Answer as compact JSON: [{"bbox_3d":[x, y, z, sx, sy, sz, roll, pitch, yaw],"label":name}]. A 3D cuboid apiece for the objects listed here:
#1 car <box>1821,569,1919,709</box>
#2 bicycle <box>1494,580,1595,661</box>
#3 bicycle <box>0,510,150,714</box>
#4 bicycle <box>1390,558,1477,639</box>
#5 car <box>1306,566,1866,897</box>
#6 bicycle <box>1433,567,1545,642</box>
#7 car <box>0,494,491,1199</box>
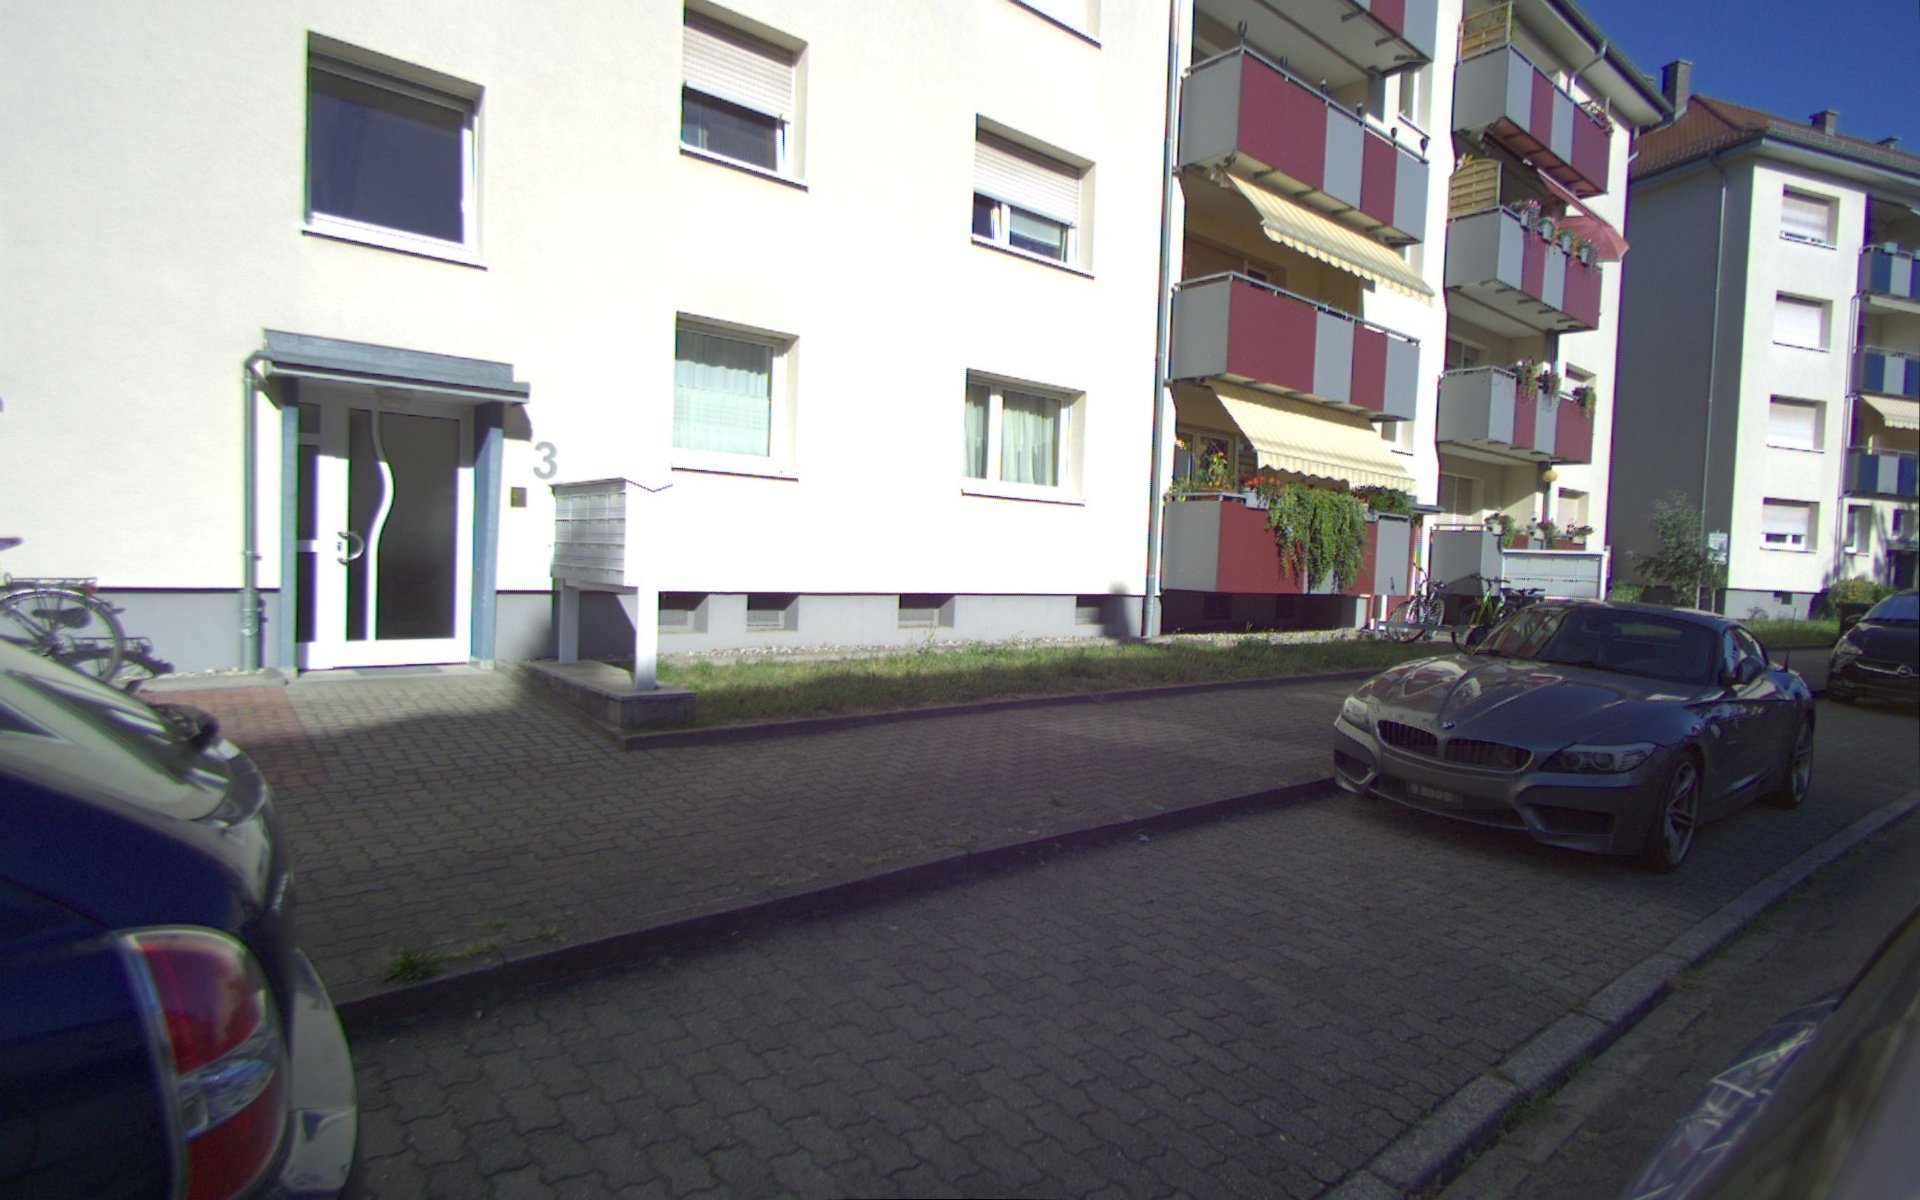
[{"bbox_3d":[12.461,0.460,12.492,3.811,1.526,1.743,-1,6,-34],"label":"car"},{"bbox_3d":[8.196,0.256,14.163,1.808,1.032,0.499,-1,5,-37],"label":"bicycle"},{"bbox_3d":[-5.624,0.048,5.638,1.702,1.080,0.651,0,7,-41],"label":"bicycle"},{"bbox_3d":[7.297,-0.043,15.577,1.730,1.164,0.408,-1,5,-38],"label":"bicycle"},{"bbox_3d":[4.177,0.545,6.483,4.163,1.379,1.691,-1,6,-39],"label":"car"},{"bbox_3d":[7.717,0.072,14.740,1.860,0.989,0.620,1,5,-37],"label":"bicycle"},{"bbox_3d":[-2.760,0.603,0.499,4.282,1.448,1.741,-2,6,-42],"label":"car"}]
